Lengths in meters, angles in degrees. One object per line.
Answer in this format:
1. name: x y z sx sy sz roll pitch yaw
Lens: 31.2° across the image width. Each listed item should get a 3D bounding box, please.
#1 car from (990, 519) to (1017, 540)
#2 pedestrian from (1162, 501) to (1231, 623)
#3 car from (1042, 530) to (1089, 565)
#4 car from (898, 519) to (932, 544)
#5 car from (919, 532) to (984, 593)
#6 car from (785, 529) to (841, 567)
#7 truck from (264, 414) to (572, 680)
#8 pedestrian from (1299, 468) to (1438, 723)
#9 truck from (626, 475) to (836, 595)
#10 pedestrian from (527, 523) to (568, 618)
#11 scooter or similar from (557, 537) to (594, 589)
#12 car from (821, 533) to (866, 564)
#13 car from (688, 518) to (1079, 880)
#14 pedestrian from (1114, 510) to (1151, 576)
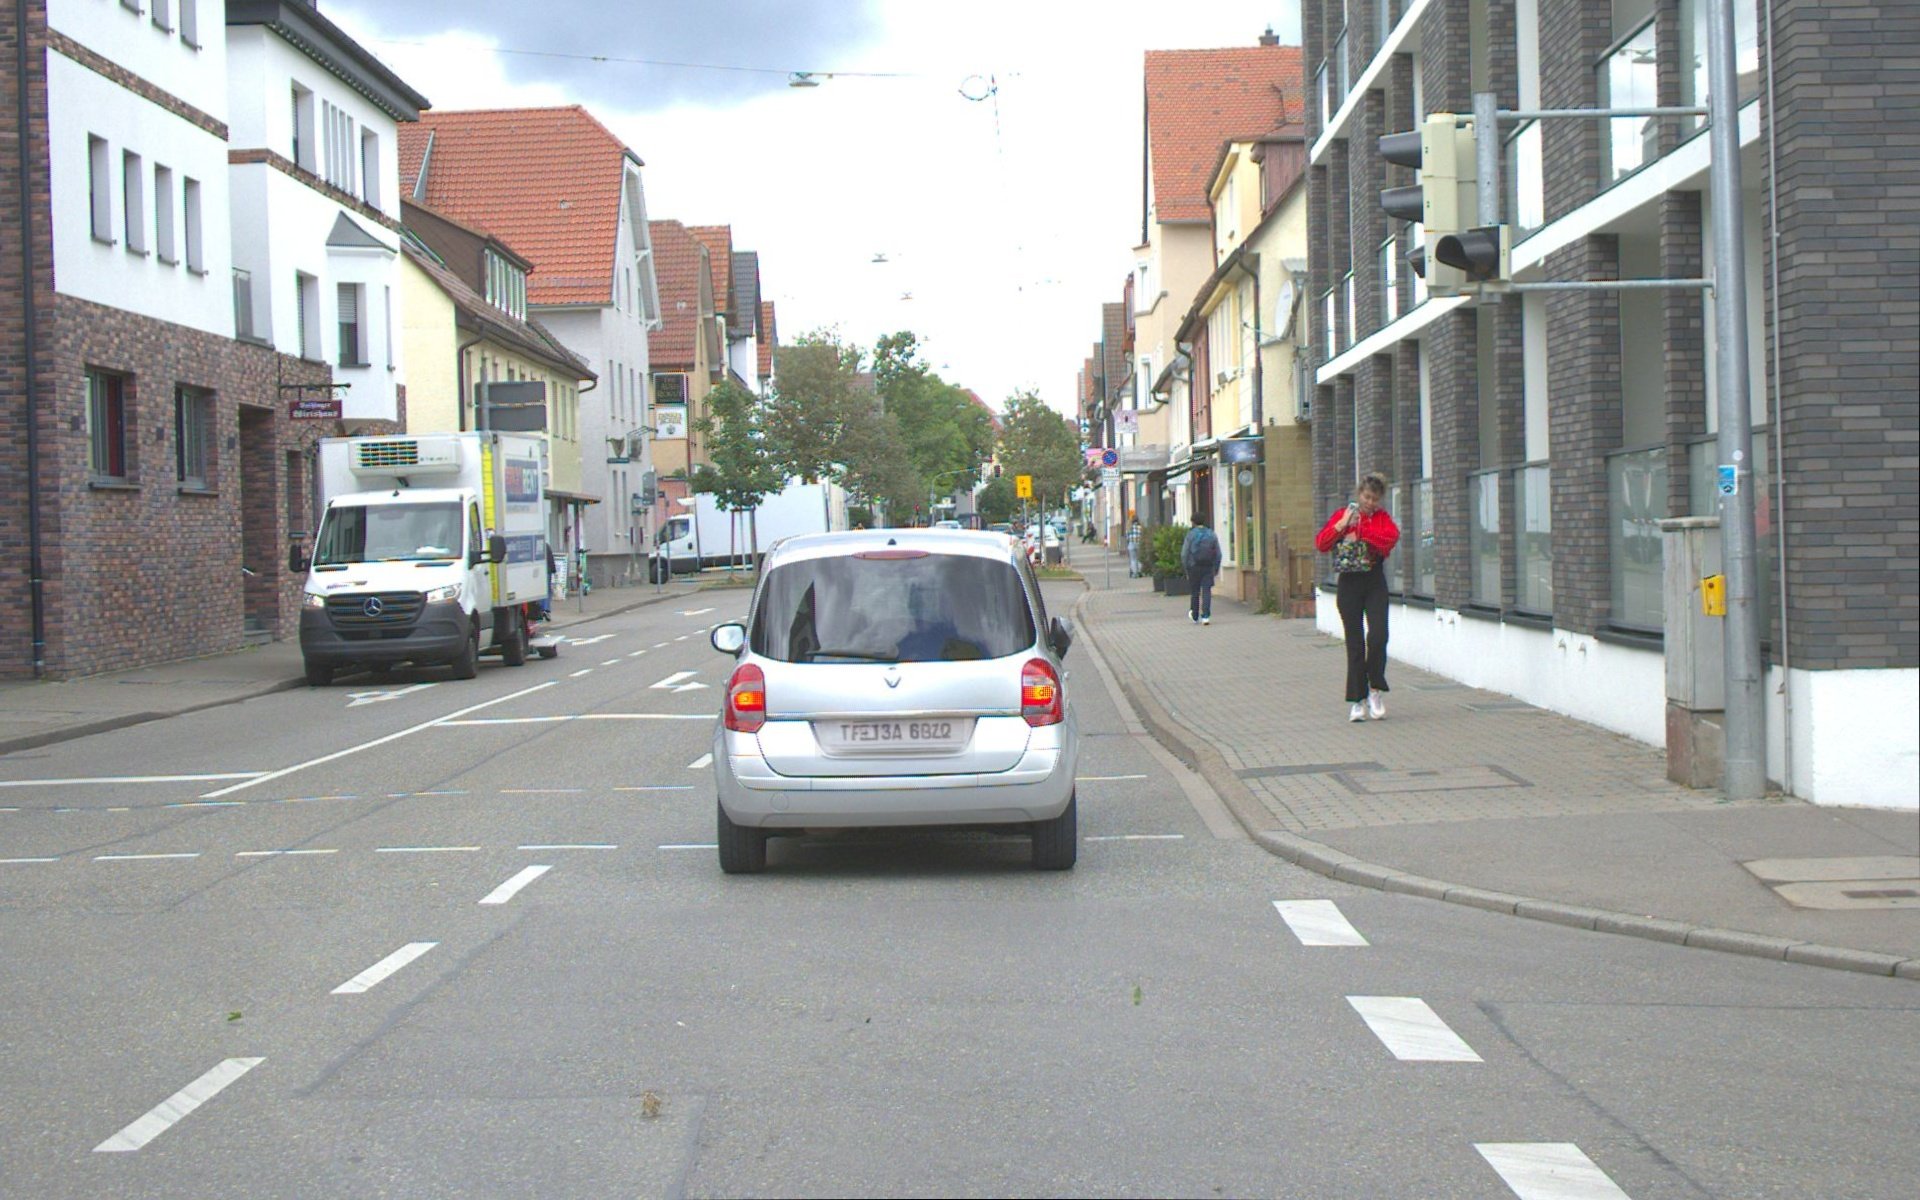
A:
1. car: 2.983 -4.824 236.059 1.813 1.349 4.000 -2 1 1
2. pedestrian: 3.577 -0.583 52.096 0.889 1.780 0.785 -4 1 1
3. car: 4.336 -2.188 141.567 1.813 1.349 4.000 -2 1 1
4. car: -2.575 -3.933 197.560 1.813 1.349 3.857 -2 1 1
5. car: -0.221 -1.031 92.298 1.706 1.573 4.000 1 1 0
6. car: -5.545 -1.972 129.843 1.813 1.349 4.000 -2 1 1
7. truck: -6.661 -0.689 43.443 2.435 2.943 8.365 -2 1 0
8. pedestrian: 2.968 -0.042 25.051 0.807 1.780 0.861 -4 1 1
9. truck: -7.641 -2.186 115.340 6.825 3.844 2.604 -1 1 0
10. pedestrian: -7.684 -0.551 64.019 0.662 1.751 0.688 0 1 1
11. scooter or similar: -9.730 -0.937 87.070 0.575 1.265 2.548 -2 1 1
12. car: -5.326 -2.370 157.110 1.813 1.349 4.000 -2 1 1
13. car: -0.329 0.394 17.105 1.706 1.573 4.000 1 1 0
14. pedestrian: 4.780 -1.579 95.337 0.889 1.780 0.785 -4 1 1
